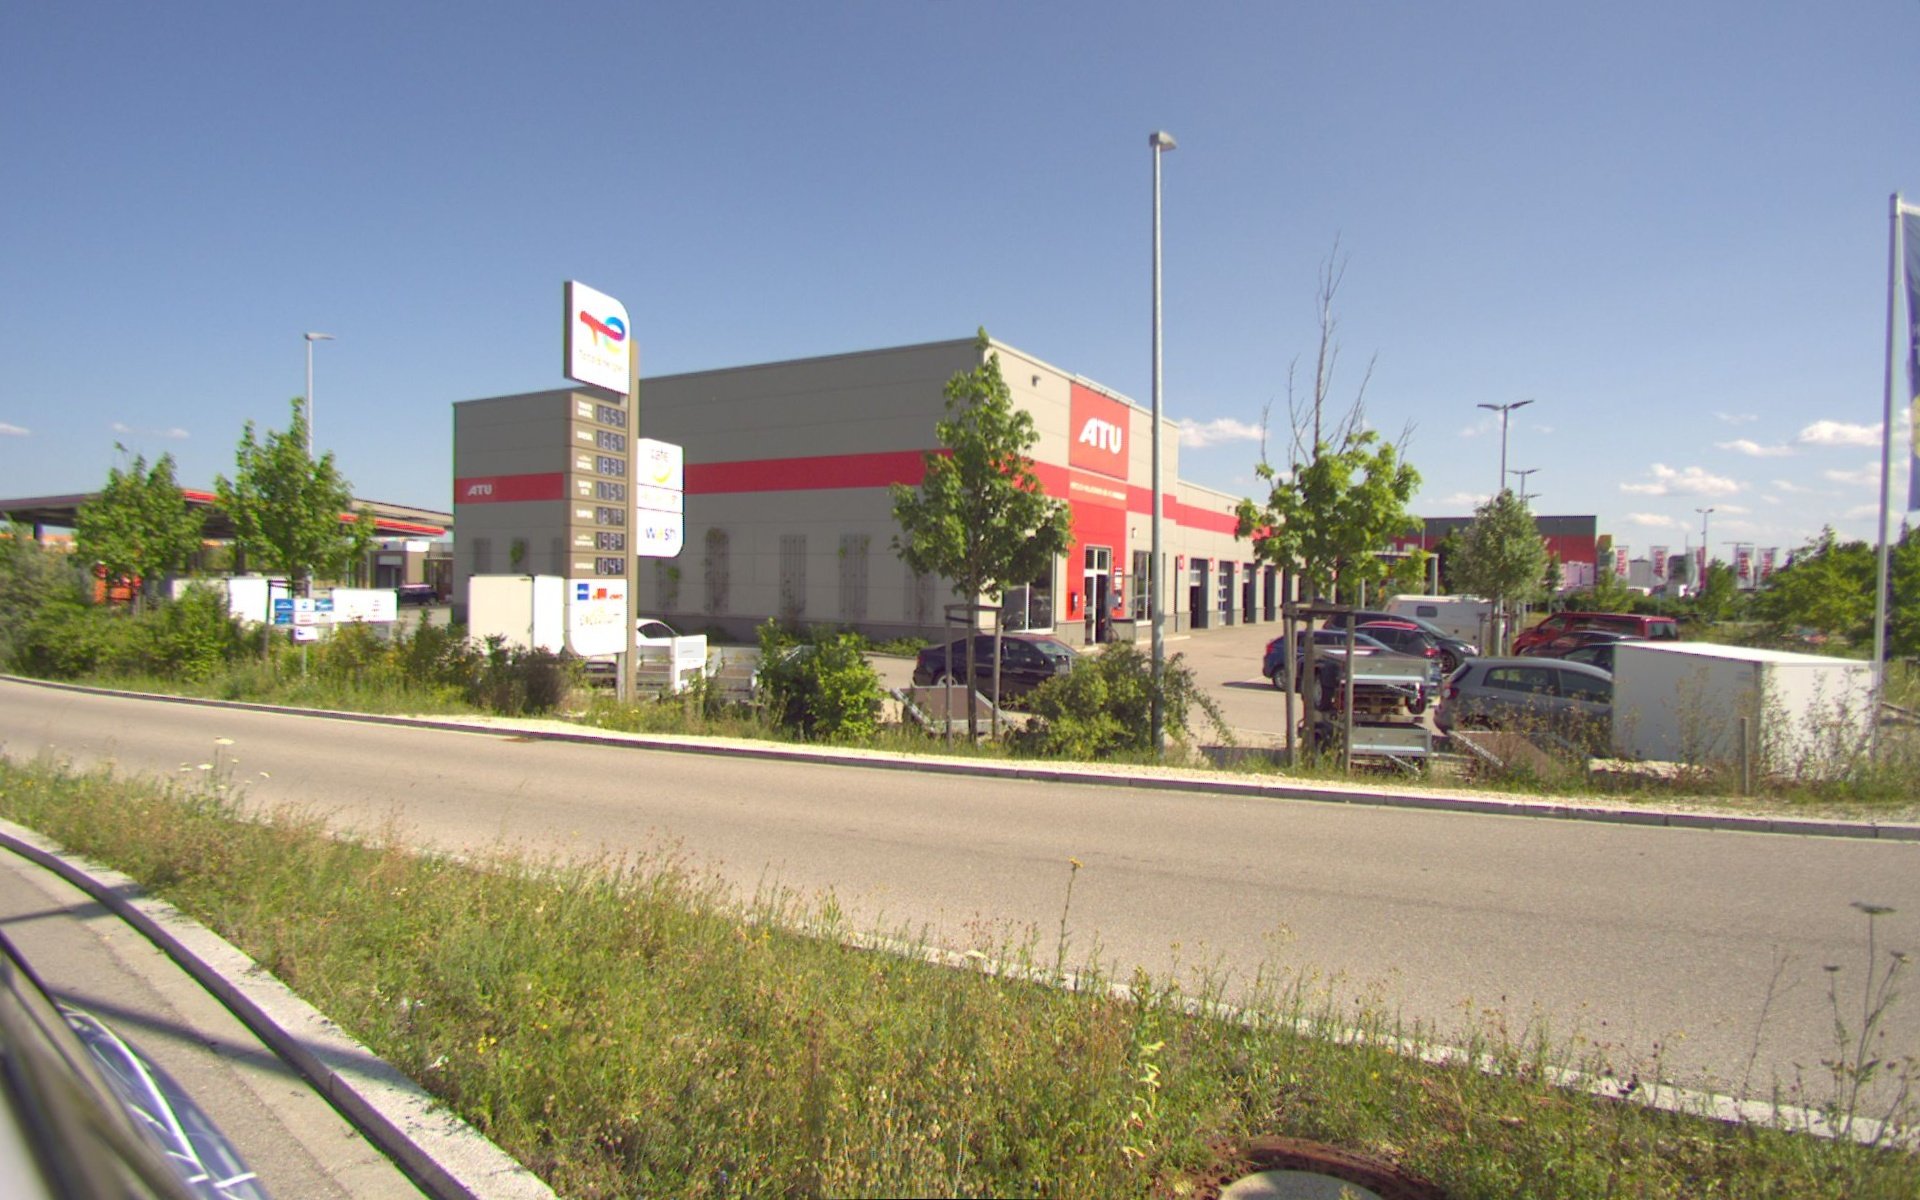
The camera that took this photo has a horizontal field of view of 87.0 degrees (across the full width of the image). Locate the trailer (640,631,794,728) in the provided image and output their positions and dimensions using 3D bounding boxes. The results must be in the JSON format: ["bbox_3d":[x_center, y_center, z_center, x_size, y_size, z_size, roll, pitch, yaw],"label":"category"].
[{"bbox_3d":[-4.389,1.387,18.689,1.533,1.495,3.178,0,1,13],"label":"trailer"}]

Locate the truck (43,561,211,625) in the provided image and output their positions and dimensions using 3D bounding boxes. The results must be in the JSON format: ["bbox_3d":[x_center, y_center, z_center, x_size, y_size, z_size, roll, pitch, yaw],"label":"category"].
[{"bbox_3d":[-46.658,-0.405,56.932,2.625,3.343,6.852,0,1,23],"label":"truck"}]

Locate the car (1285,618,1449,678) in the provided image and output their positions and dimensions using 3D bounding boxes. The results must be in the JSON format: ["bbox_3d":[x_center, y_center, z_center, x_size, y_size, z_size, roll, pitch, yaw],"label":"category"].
[{"bbox_3d":[11.386,1.287,28.402,3.990,1.475,1.804,0,1,35],"label":"car"}]

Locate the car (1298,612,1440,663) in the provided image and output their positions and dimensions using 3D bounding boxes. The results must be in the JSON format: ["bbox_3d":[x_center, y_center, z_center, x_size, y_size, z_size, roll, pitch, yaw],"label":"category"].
[{"bbox_3d":[13.171,1.157,32.643,3.990,1.475,1.804,0,1,35],"label":"car"}]

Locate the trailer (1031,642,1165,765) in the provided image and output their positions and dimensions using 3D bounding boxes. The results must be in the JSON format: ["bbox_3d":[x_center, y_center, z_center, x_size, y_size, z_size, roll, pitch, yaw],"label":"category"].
[{"bbox_3d":[2.184,1.625,16.924,1.684,1.462,3.698,0,3,-1],"label":"trailer"}]

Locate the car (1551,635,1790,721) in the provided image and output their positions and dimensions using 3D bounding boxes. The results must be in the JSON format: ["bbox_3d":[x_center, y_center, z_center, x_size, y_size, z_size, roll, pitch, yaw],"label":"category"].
[{"bbox_3d":[15.926,1.683,22.932,1.794,1.475,4.014,2,1,-25],"label":"car"}]

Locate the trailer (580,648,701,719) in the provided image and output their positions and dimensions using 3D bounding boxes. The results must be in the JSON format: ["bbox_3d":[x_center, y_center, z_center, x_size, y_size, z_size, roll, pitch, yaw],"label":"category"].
[{"bbox_3d":[-5.990,1.541,19.224,1.303,1.094,2.773,0,1,3],"label":"trailer"}]

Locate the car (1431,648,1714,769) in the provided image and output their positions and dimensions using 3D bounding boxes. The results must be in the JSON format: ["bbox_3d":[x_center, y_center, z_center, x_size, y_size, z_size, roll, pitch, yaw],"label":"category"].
[{"bbox_3d":[9.773,1.655,16.370,3.731,1.563,1.725,0,1,32],"label":"car"}]

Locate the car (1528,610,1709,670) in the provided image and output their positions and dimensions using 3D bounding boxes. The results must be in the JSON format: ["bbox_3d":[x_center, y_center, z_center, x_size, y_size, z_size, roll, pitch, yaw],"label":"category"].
[{"bbox_3d":[18.717,1.080,28.957,1.794,1.475,4.013,-1,1,-25],"label":"car"}]

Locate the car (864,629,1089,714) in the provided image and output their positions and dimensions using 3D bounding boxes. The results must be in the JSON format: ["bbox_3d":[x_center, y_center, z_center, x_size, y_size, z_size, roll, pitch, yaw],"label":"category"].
[{"bbox_3d":[0.287,1.415,21.223,4.486,1.495,1.782,0,0,35],"label":"car"}]

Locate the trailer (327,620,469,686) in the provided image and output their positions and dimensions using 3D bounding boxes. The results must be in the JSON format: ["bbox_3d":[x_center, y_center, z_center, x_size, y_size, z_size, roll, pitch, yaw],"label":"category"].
[{"bbox_3d":[-15.041,1.378,27.300,1.580,1.521,3.593,-1,1,6],"label":"trailer"}]

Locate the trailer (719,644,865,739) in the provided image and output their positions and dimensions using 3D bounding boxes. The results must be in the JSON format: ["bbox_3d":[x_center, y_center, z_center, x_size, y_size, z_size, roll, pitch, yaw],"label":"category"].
[{"bbox_3d":[-2.874,1.535,17.788,1.378,1.332,2.895,0,1,18],"label":"trailer"}]

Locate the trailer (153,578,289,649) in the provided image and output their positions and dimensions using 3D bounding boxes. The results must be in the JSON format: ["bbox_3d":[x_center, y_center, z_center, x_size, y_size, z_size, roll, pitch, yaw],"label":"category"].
[{"bbox_3d":[-22.293,0.360,30.682,1.969,2.029,3.211,-1,1,-6],"label":"trailer"}]

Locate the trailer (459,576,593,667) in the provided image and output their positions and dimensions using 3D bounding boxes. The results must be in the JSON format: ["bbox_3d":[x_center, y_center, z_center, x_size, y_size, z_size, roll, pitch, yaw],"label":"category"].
[{"bbox_3d":[-10.316,0.473,24.307,1.724,2.029,3.238,0,1,2],"label":"trailer"}]

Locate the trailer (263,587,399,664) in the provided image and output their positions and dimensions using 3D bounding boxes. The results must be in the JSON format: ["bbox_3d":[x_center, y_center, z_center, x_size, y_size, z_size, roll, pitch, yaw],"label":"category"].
[{"bbox_3d":[-17.505,0.670,28.292,1.976,2.029,2.732,0,1,6],"label":"trailer"}]

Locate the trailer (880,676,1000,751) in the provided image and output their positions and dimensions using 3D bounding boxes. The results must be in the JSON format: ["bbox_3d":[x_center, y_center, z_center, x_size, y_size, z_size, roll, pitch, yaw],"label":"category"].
[{"bbox_3d":[-0.283,1.851,16.977,1.841,0.888,2.836,0,1,1],"label":"trailer"}]

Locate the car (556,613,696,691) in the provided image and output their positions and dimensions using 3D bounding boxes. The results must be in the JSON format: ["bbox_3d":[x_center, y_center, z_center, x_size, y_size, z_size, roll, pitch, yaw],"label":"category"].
[{"bbox_3d":[-7.640,1.135,23.552,1.697,1.548,3.995,0,1,4],"label":"car"}]

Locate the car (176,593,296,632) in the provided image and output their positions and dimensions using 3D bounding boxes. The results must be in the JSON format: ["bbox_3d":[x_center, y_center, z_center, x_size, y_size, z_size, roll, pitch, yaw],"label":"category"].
[{"bbox_3d":[-35.428,0.584,49.645,1.788,1.771,4.477,0,1,29],"label":"car"}]

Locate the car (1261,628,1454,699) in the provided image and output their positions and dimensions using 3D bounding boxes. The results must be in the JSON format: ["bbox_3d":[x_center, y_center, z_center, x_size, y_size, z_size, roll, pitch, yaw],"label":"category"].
[{"bbox_3d":[9.222,1.416,23.508,3.983,1.475,1.807,0,-2,30],"label":"car"}]

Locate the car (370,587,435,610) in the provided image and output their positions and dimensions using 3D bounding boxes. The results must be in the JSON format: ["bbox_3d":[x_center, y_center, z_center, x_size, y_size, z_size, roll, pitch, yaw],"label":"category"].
[{"bbox_3d":[-39.278,-0.119,71.306,1.694,1.586,3.637,0,1,40],"label":"car"}]

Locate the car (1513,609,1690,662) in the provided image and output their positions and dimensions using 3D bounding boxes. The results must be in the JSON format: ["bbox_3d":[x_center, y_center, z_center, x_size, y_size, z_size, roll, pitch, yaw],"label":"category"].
[{"bbox_3d":[20.189,1.056,32.073,1.794,1.475,4.470,-1,1,-25],"label":"car"}]

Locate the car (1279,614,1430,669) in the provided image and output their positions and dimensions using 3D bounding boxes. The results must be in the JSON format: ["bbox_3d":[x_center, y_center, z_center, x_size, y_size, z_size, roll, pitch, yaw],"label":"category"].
[{"bbox_3d":[11.944,1.207,30.701,3.990,1.475,1.804,0,1,35],"label":"car"}]

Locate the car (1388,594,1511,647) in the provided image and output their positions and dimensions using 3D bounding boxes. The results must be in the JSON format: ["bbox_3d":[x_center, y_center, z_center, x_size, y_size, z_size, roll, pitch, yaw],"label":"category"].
[{"bbox_3d":[19.614,0.774,40.597,4.332,2.029,1.884,0,1,31],"label":"car"}]

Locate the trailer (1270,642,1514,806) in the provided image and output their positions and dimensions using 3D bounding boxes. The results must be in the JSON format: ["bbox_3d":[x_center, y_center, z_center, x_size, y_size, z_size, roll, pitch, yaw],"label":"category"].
[{"bbox_3d":[5.831,1.588,14.181,1.782,1.785,3.697,0,1,-1],"label":"trailer"}]

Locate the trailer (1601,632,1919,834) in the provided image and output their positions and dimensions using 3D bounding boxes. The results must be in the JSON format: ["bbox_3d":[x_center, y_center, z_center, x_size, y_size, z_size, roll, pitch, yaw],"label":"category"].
[{"bbox_3d":[9.864,1.430,12.255,1.782,1.785,3.698,-1,2,-1],"label":"trailer"}]
